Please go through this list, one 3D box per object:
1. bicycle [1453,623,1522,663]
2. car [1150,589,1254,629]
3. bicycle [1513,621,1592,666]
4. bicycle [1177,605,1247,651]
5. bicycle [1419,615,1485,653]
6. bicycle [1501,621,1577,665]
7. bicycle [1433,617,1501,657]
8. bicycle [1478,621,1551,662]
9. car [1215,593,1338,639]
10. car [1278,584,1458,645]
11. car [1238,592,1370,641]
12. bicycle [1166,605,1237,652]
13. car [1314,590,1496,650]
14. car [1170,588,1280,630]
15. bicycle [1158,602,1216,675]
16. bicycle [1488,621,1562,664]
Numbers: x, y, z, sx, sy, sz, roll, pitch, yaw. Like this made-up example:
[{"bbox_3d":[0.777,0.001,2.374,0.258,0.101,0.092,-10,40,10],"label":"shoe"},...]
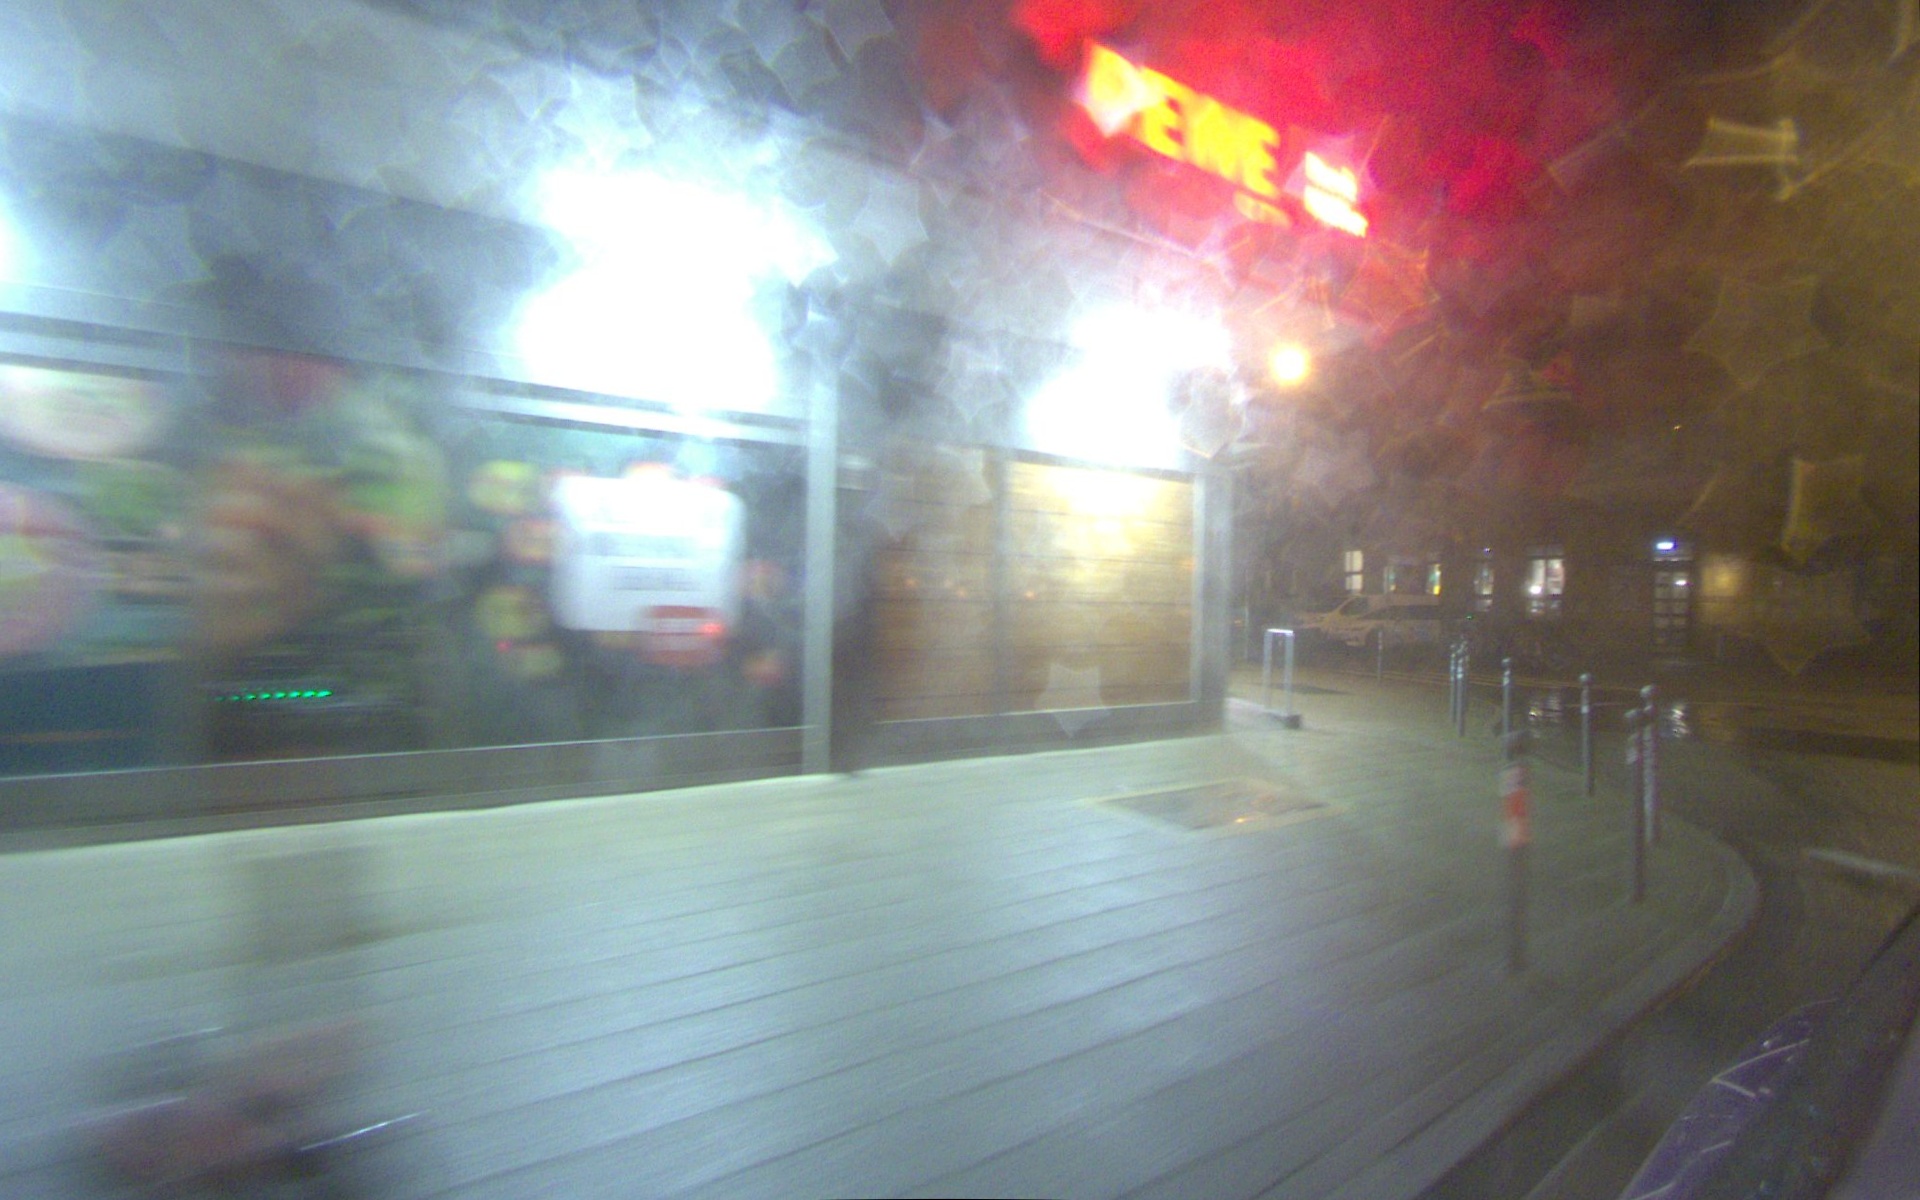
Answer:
[{"bbox_3d":[14.300,1.170,27.422,1.772,1.021,0.404,2,-1,-10],"label":"bicycle"},{"bbox_3d":[11.474,0.425,48.069,4.369,1.785,2.003,1,-1,-12],"label":"car"},{"bbox_3d":[14.289,1.038,24.407,1.772,1.021,0.456,2,-1,-10],"label":"bicycle"},{"bbox_3d":[6.719,0.740,27.045,0.444,1.192,1.963,1,-2,-38],"label":"bicycle"},{"bbox_3d":[13.885,0.960,28.537,1.740,1.021,0.404,2,0,-10],"label":"bicycle"},{"bbox_3d":[14.360,1.069,25.082,1.772,1.021,0.404,2,-1,-10],"label":"bicycle"},{"bbox_3d":[14.017,1.020,27.994,1.772,1.021,0.404,2,0,-10],"label":"bicycle"},{"bbox_3d":[14.321,1.062,26.123,1.772,1.022,0.404,0,-2,-11],"label":"bicycle"},{"bbox_3d":[12.922,0.647,41.407,4.369,1.785,2.003,1,-1,-12],"label":"car"},{"bbox_3d":[13.776,0.497,34.264,5.432,1.914,2.003,1,-1,-12],"label":"car"},{"bbox_3d":[13.147,0.640,38.813,4.369,1.785,2.003,1,-1,-12],"label":"car"},{"bbox_3d":[6.347,0.736,26.711,0.444,1.192,1.963,1,-2,-38],"label":"bicycle"},{"bbox_3d":[13.967,0.635,31.860,4.990,1.785,2.003,1,-1,-12],"label":"car"},{"bbox_3d":[11.987,0.414,45.855,4.369,1.785,2.003,1,-1,-12],"label":"car"},{"bbox_3d":[3.937,0.639,17.645,0.376,1.189,1.789,1,0,-7],"label":"bicycle"},{"bbox_3d":[14.284,1.077,25.591,1.772,1.021,0.380,2,-1,-10],"label":"bicycle"}]
